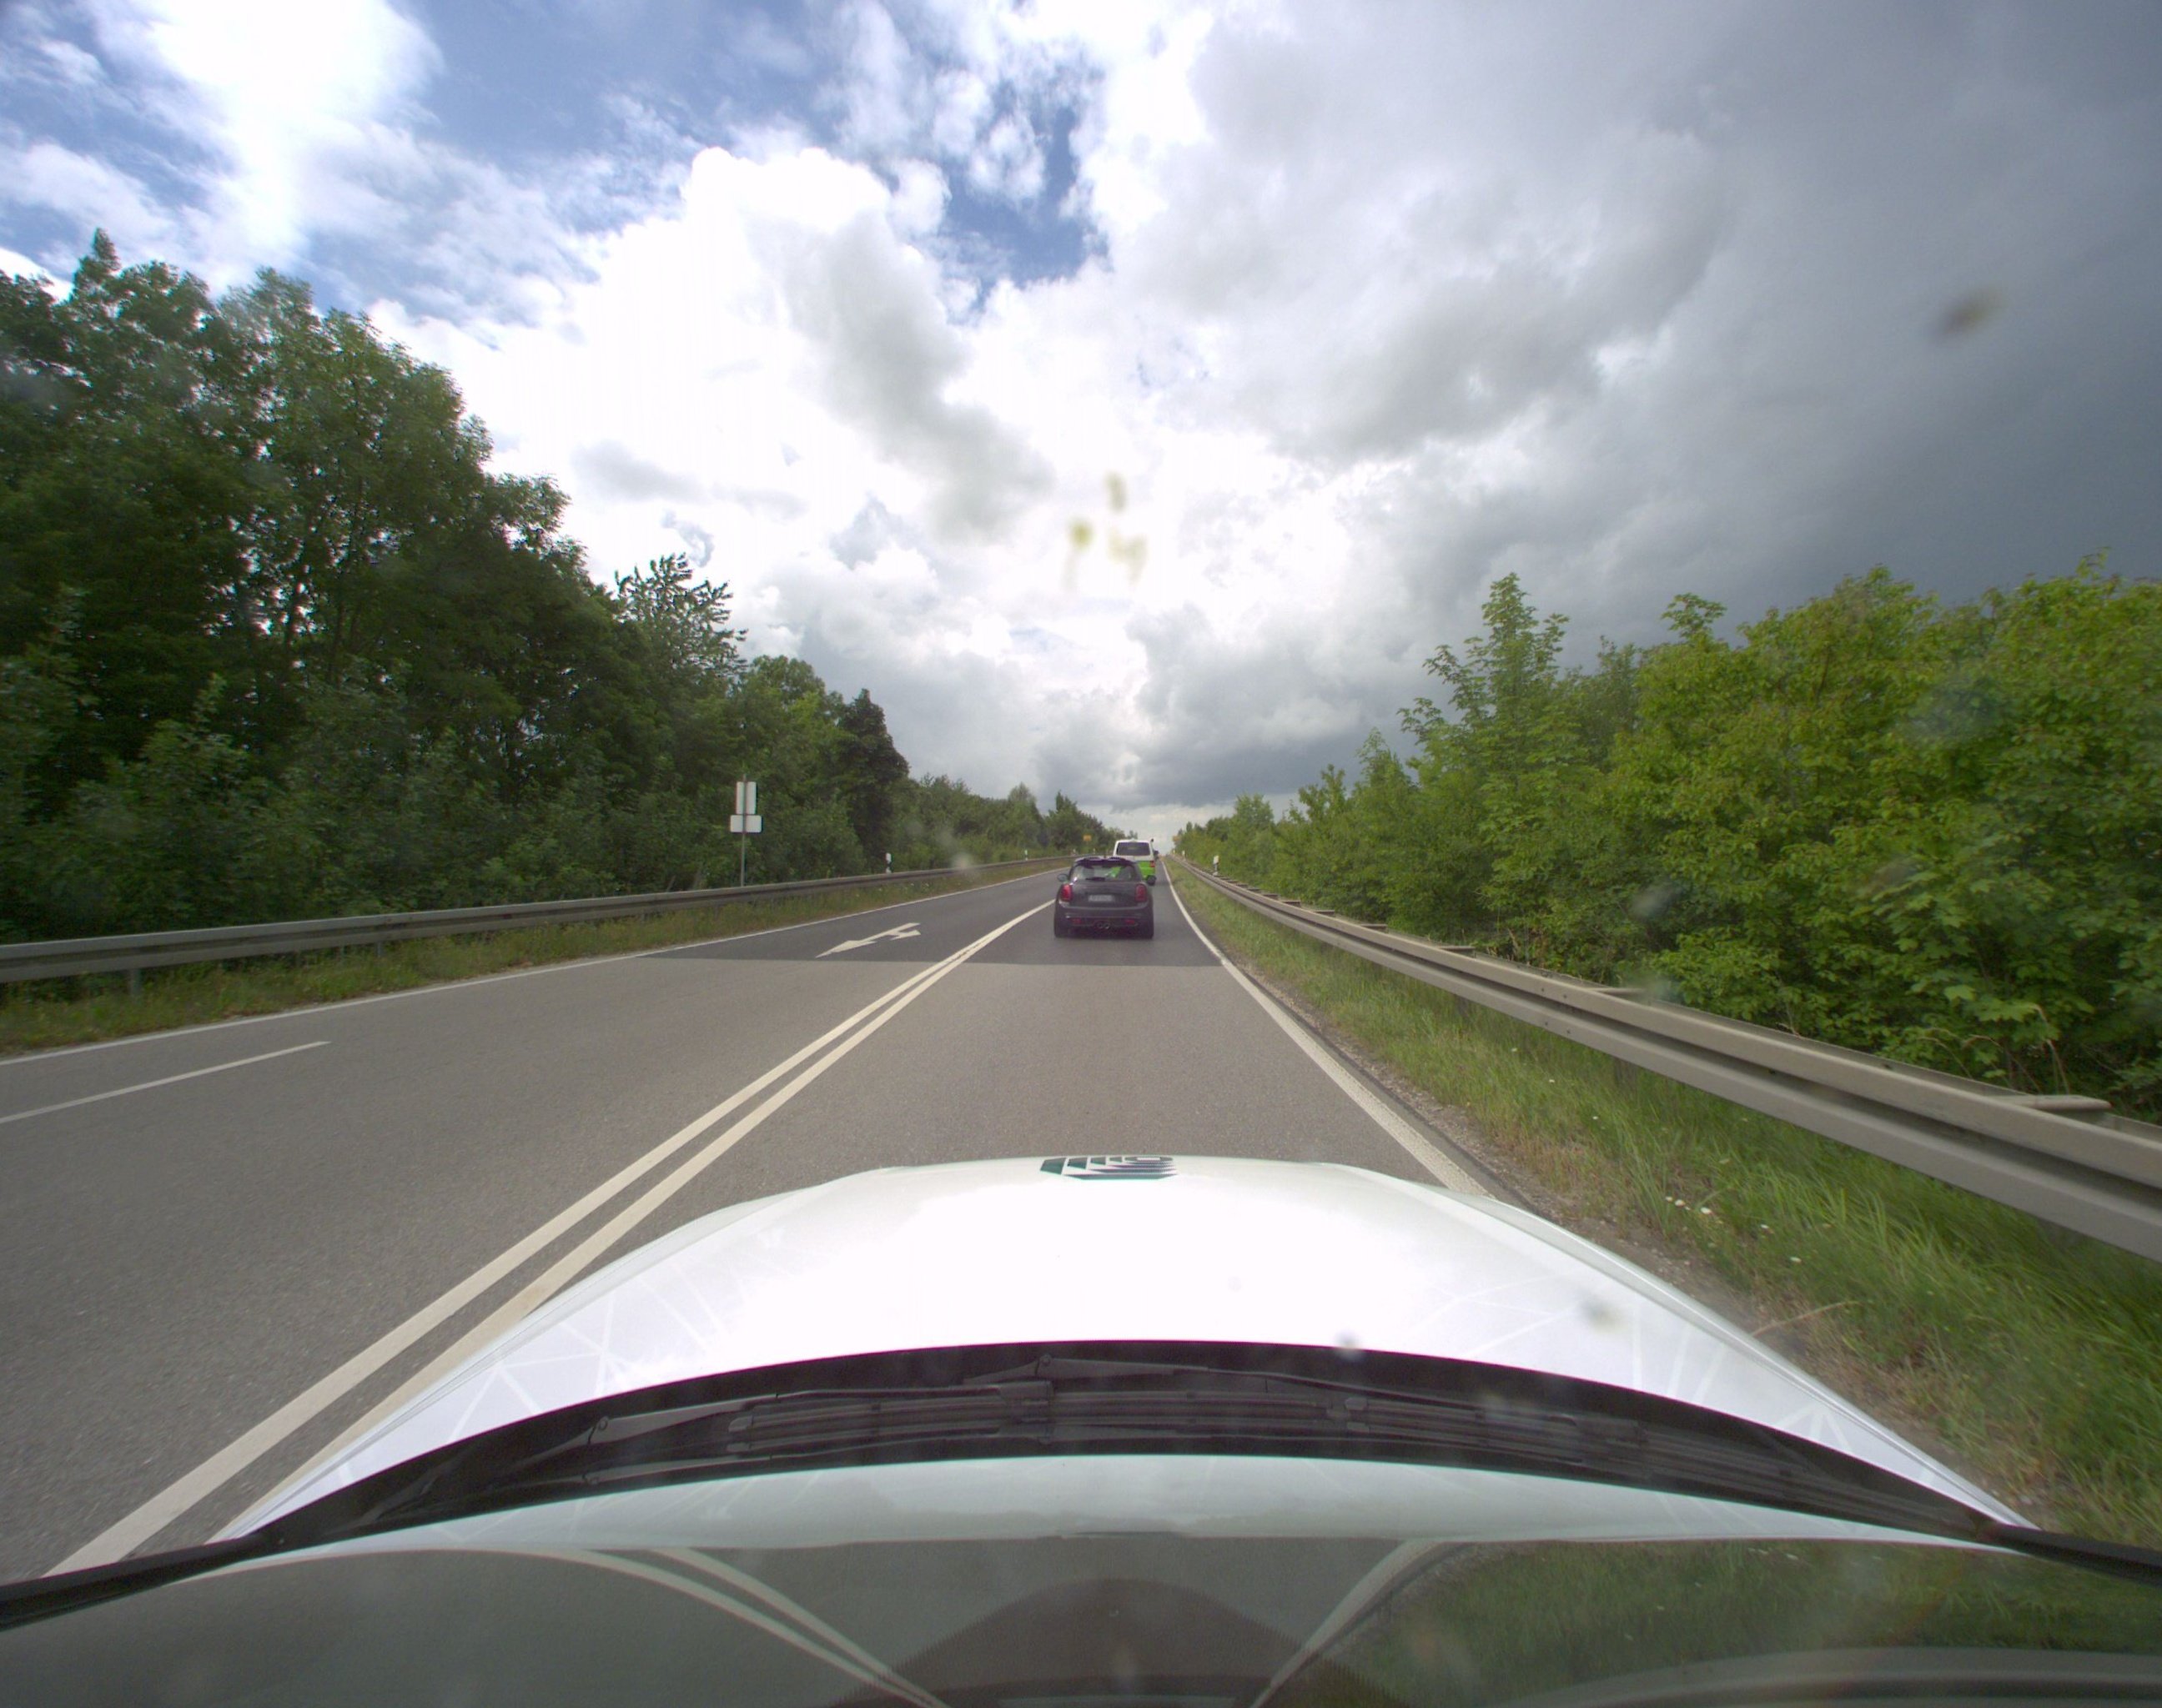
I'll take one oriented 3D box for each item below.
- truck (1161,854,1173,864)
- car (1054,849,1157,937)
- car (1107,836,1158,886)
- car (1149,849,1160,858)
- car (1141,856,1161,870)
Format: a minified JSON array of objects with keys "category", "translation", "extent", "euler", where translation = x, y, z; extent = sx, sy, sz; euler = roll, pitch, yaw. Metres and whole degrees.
[{"category":"truck","translation":[24.058,1.331,227.916],"extent":[2.894,2.372,10.473],"euler":[-2,0,7]},{"category":"car","translation":[0.418,0.635,15.633],"extent":[1.726,1.455,4.000],"euler":[0,1,0]},{"category":"car","translation":[2.329,0.279,35.923],"extent":[2.011,2.013,4.008],"euler":[1,0,7]},{"category":"car","translation":[12.263,-0.089,136.417],"extent":[1.685,1.319,4.008],"euler":[-1,0,7]},{"category":"car","translation":[6.631,0.856,76.902],"extent":[1.685,1.222,4.008],"euler":[-2,-1,7]}]
